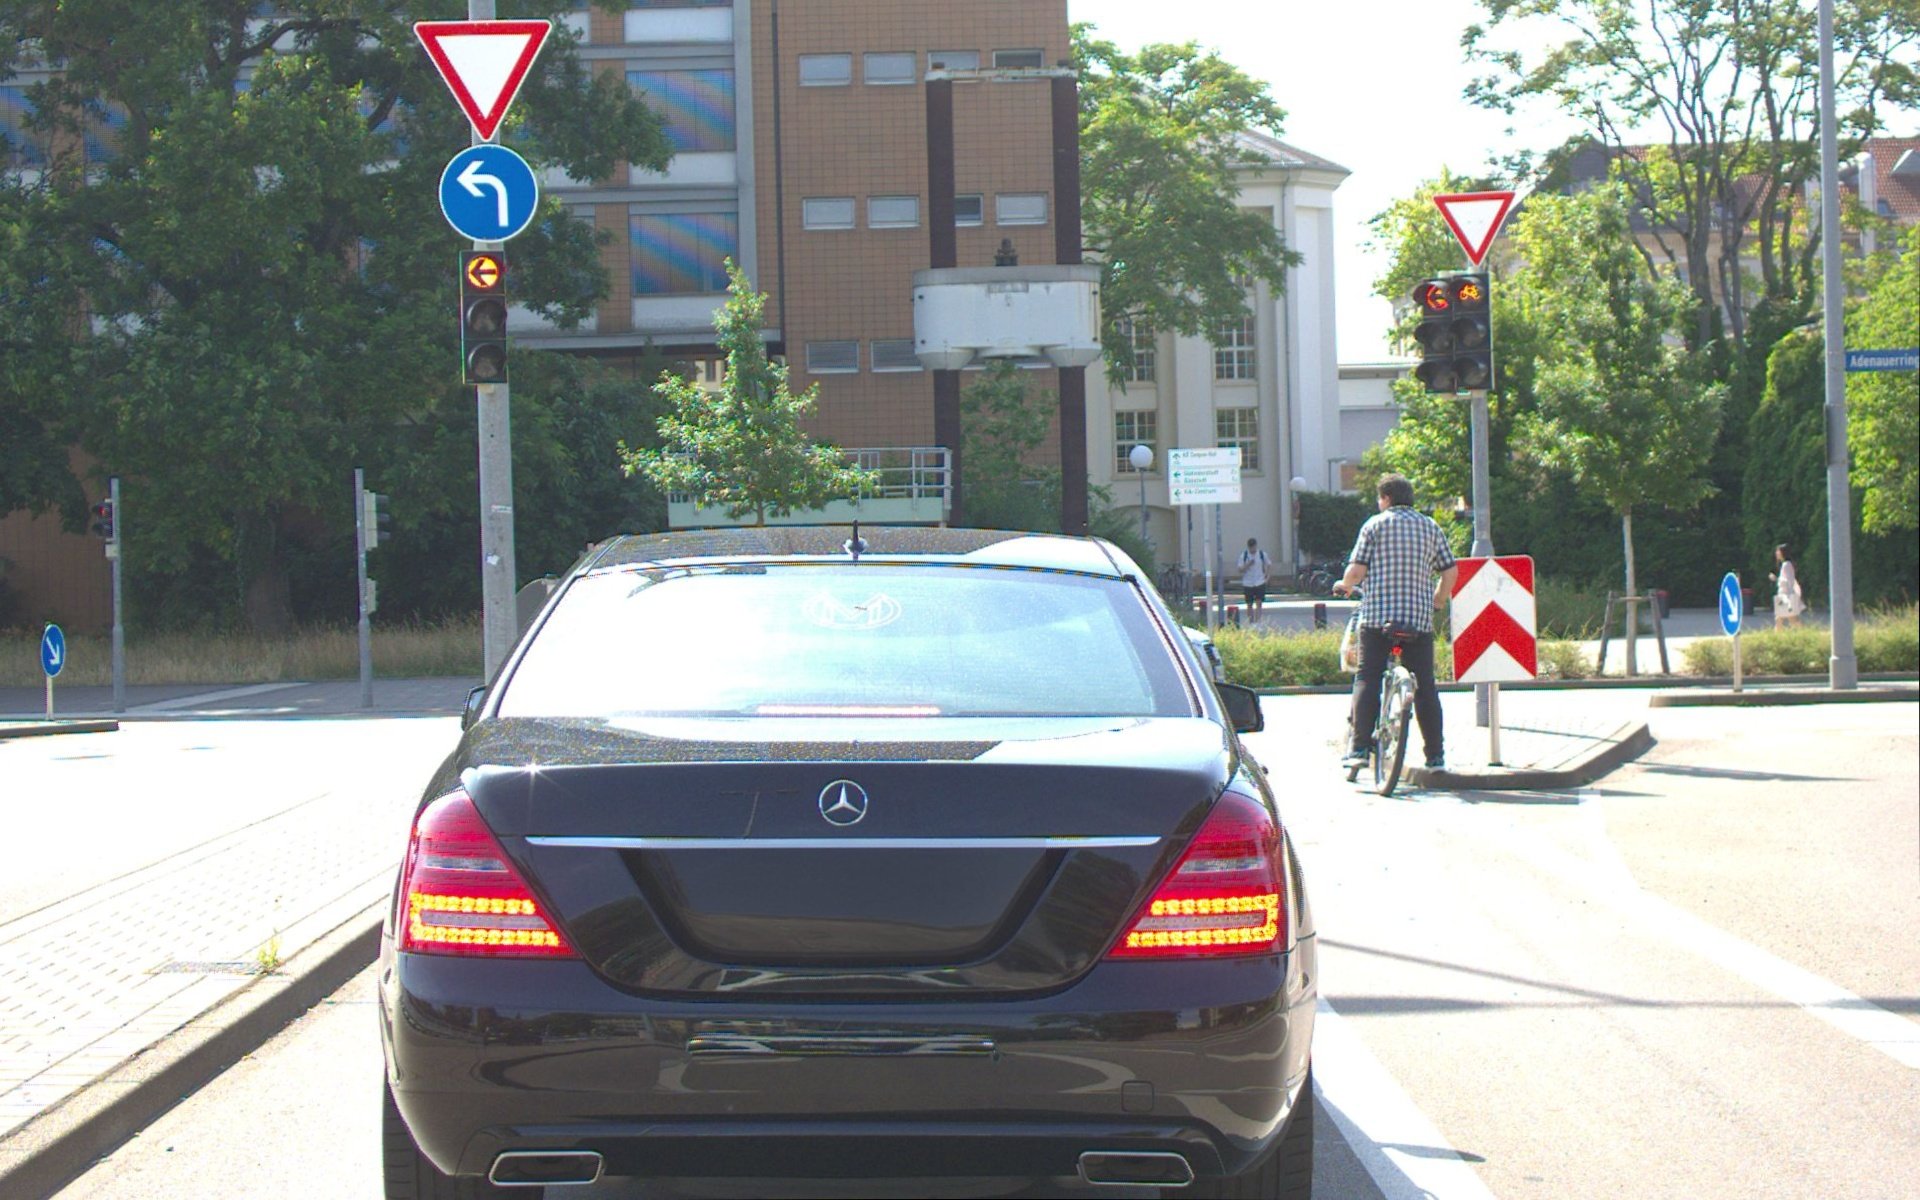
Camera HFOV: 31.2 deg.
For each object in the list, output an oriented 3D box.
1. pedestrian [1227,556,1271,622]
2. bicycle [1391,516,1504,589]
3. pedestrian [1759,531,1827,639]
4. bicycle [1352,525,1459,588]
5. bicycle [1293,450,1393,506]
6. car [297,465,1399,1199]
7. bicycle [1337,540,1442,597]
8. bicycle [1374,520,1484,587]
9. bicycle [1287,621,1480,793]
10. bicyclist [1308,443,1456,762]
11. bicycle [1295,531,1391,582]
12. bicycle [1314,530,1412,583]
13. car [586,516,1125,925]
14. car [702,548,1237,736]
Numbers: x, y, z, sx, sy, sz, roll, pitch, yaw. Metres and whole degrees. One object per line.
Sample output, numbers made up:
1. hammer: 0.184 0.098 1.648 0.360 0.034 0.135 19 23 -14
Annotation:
1. pedestrian: 5.384 -0.203 64.045 0.793 1.209 0.757 1 0 6
2. bicycle: 12.973 -1.267 91.524 2.823 1.830 0.842 -2 1 -1
3. pedestrian: 12.400 -0.227 51.197 0.811 1.574 0.692 -2 0 2
4. bicycle: 12.463 -1.230 96.196 2.823 1.653 0.842 -2 2 -1
5. bicycle: 11.423 -3.639 102.529 2.823 1.553 0.842 -2 1 -1
6. car: -0.244 0.517 8.186 1.858 1.525 4.714 0 1 -1
7. bicycle: 12.295 -0.895 98.455 2.823 1.532 0.842 -2 1 -1
8. bicycle: 12.802 -1.275 93.822 2.823 1.738 0.842 -2 1 -1
9. bicycle: 2.514 0.618 20.630 0.692 0.943 1.959 1 1 -7
10. bicyclist: 2.519 0.010 20.593 0.685 1.872 0.860 0 0 -7
11. bicycle: 11.849 -1.361 106.445 2.823 1.475 0.841 -2 1 0
12. bicycle: 12.257 -1.322 104.547 2.823 1.495 0.842 -2 1 -1
13. car: -0.411 0.431 14.843 1.993 1.503 4.000 1 1 -1
14. car: 0.100 0.343 28.630 4.161 1.415 1.583 -2 1 14
